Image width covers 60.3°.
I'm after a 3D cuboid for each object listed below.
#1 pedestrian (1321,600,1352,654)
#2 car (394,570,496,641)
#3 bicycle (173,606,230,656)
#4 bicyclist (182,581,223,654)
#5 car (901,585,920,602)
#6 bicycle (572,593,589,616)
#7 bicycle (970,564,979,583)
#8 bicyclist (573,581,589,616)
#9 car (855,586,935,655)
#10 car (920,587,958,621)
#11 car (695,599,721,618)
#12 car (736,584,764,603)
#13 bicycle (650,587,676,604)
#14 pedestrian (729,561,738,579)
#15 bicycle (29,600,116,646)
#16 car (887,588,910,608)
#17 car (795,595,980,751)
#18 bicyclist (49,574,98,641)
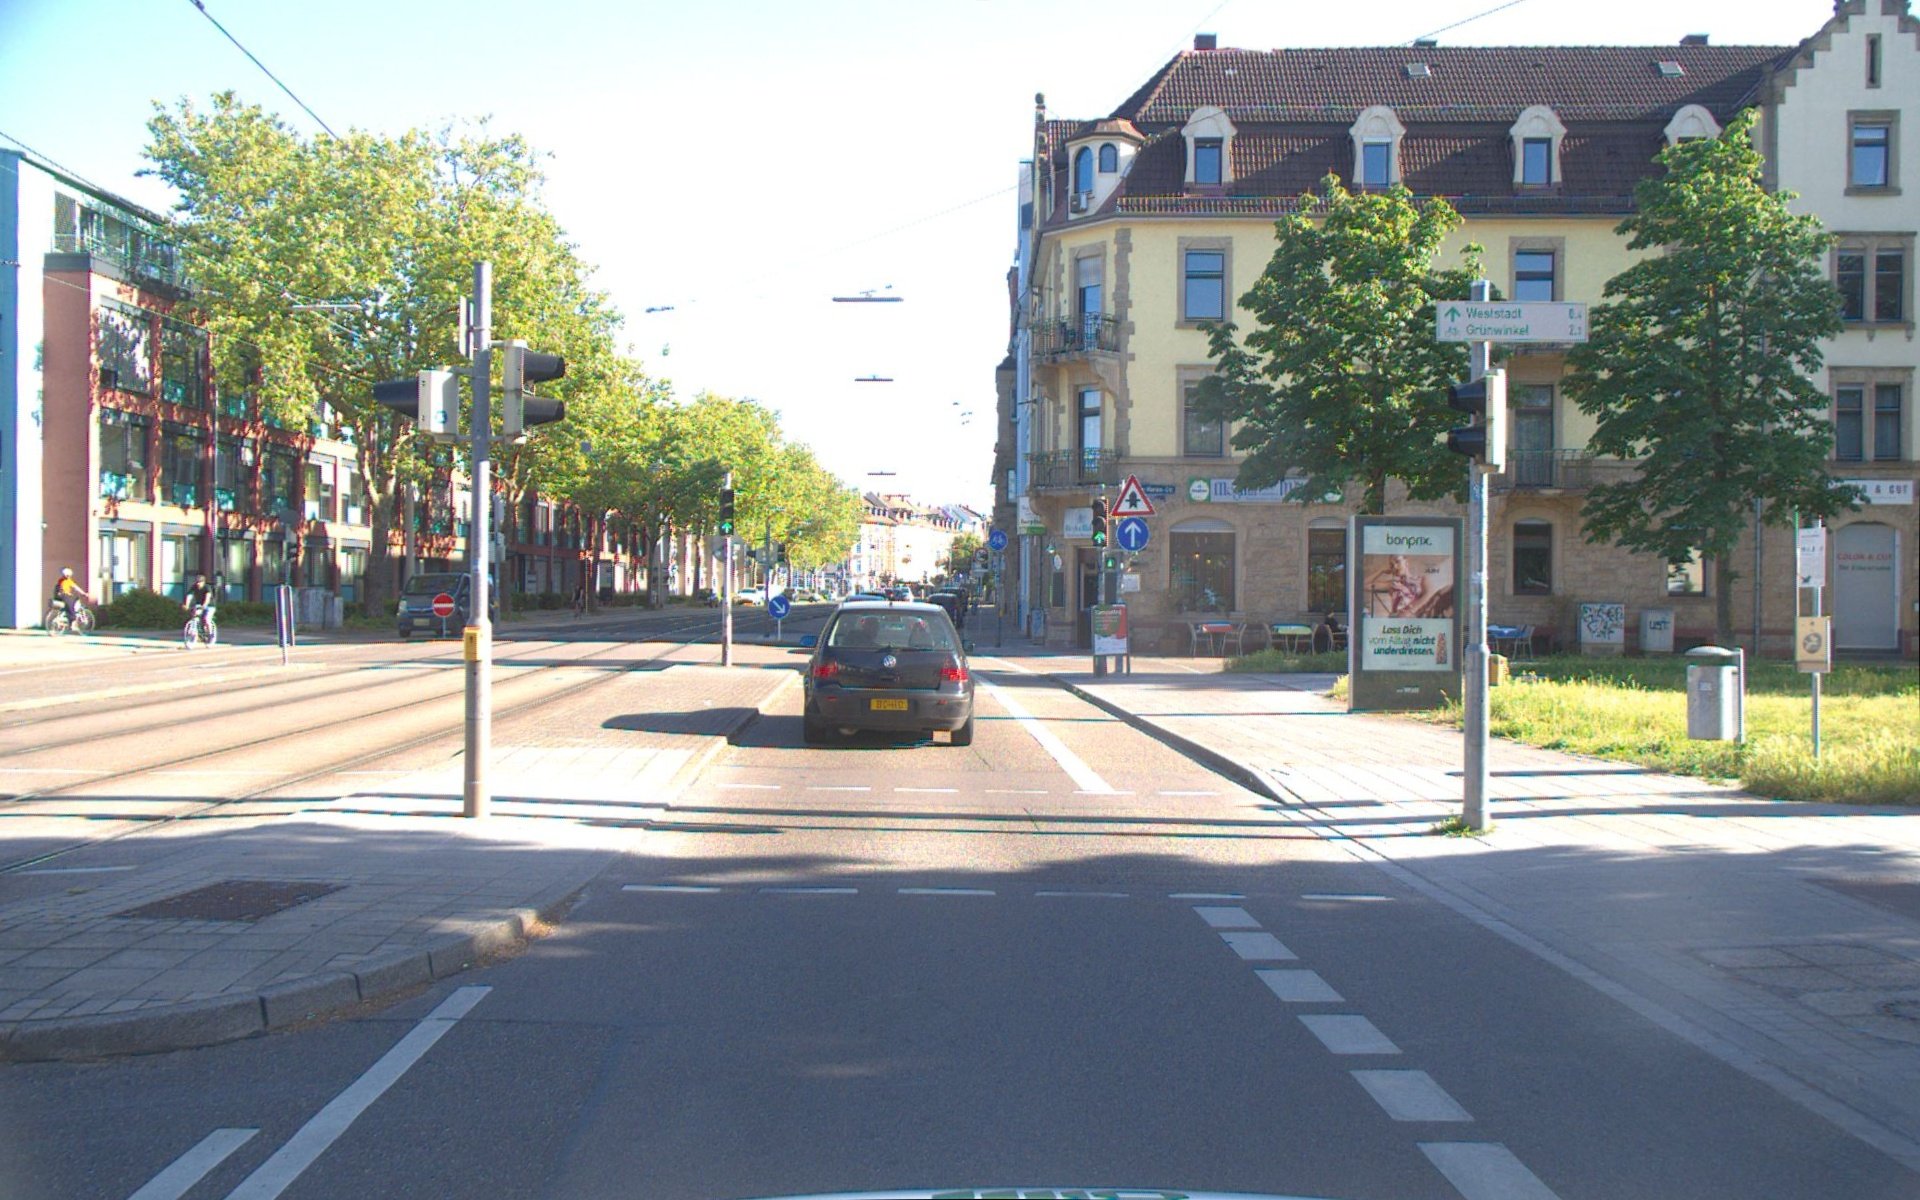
[{"bbox_3d":[9.823,0.701,43.181,0.625,1.383,0.702,2,1,1],"label":"pedestrian"},{"bbox_3d":[-16.428,0.110,53.007,1.980,2.048,5.246,-1,2,-5],"label":"car"},{"bbox_3d":[-18.456,0.737,40.281,0.575,1.133,1.826,-1,1,-2],"label":"bicycle"},{"bbox_3d":[-18.474,0.422,40.332,0.575,1.740,0.901,-1,1,-2],"label":"bicyclist"},{"bbox_3d":[-4.488,-0.594,150.797,1.602,1.498,3.729,0,0,0],"label":"car"},{"bbox_3d":[-18.443,0.215,80.425,0.633,1.060,1.922,2,1,-8],"label":"bicycle"},{"bbox_3d":[0.901,-1.678,104.342,0.504,1.159,2.259,-1,1,0],"label":"bicycle"},{"bbox_3d":[-18.439,-0.087,80.413,0.633,1.639,0.779,2,1,-8],"label":"bicyclist"},{"bbox_3d":[-1.523,0.462,40.081,1.712,1.564,3.892,0,1,1],"label":"car"},{"bbox_3d":[-0.941,0.169,75.783,1.621,1.508,4.000,1,0,0],"label":"car"},{"bbox_3d":[-19.749,0.679,129.714,1.476,1.479,3.463,-1,-1,0],"label":"car"},{"bbox_3d":[-19.544,-0.601,153.965,1.971,1.600,4.693,2,1,-1],"label":"car"},{"bbox_3d":[-24.457,-0.371,136.146,1.967,1.300,0.664,2,1,0],"label":"bicycle"},{"bbox_3d":[-23.967,-3.190,174.771,0.780,1.852,0.670,2,1,0],"label":"pedestrian"},{"bbox_3d":[-23.346,0.600,43.546,0.619,1.149,2.034,2,1,25],"label":"bicycle"},{"bbox_3d":[-4.843,-0.187,130.877,1.602,1.498,3.729,1,0,0],"label":"car"},{"bbox_3d":[-0.705,0.677,17.420,1.713,1.399,4.000,0,1,-1],"label":"car"},{"bbox_3d":[-23.337,0.204,43.533,0.593,1.722,0.932,2,1,25],"label":"bicyclist"}]
